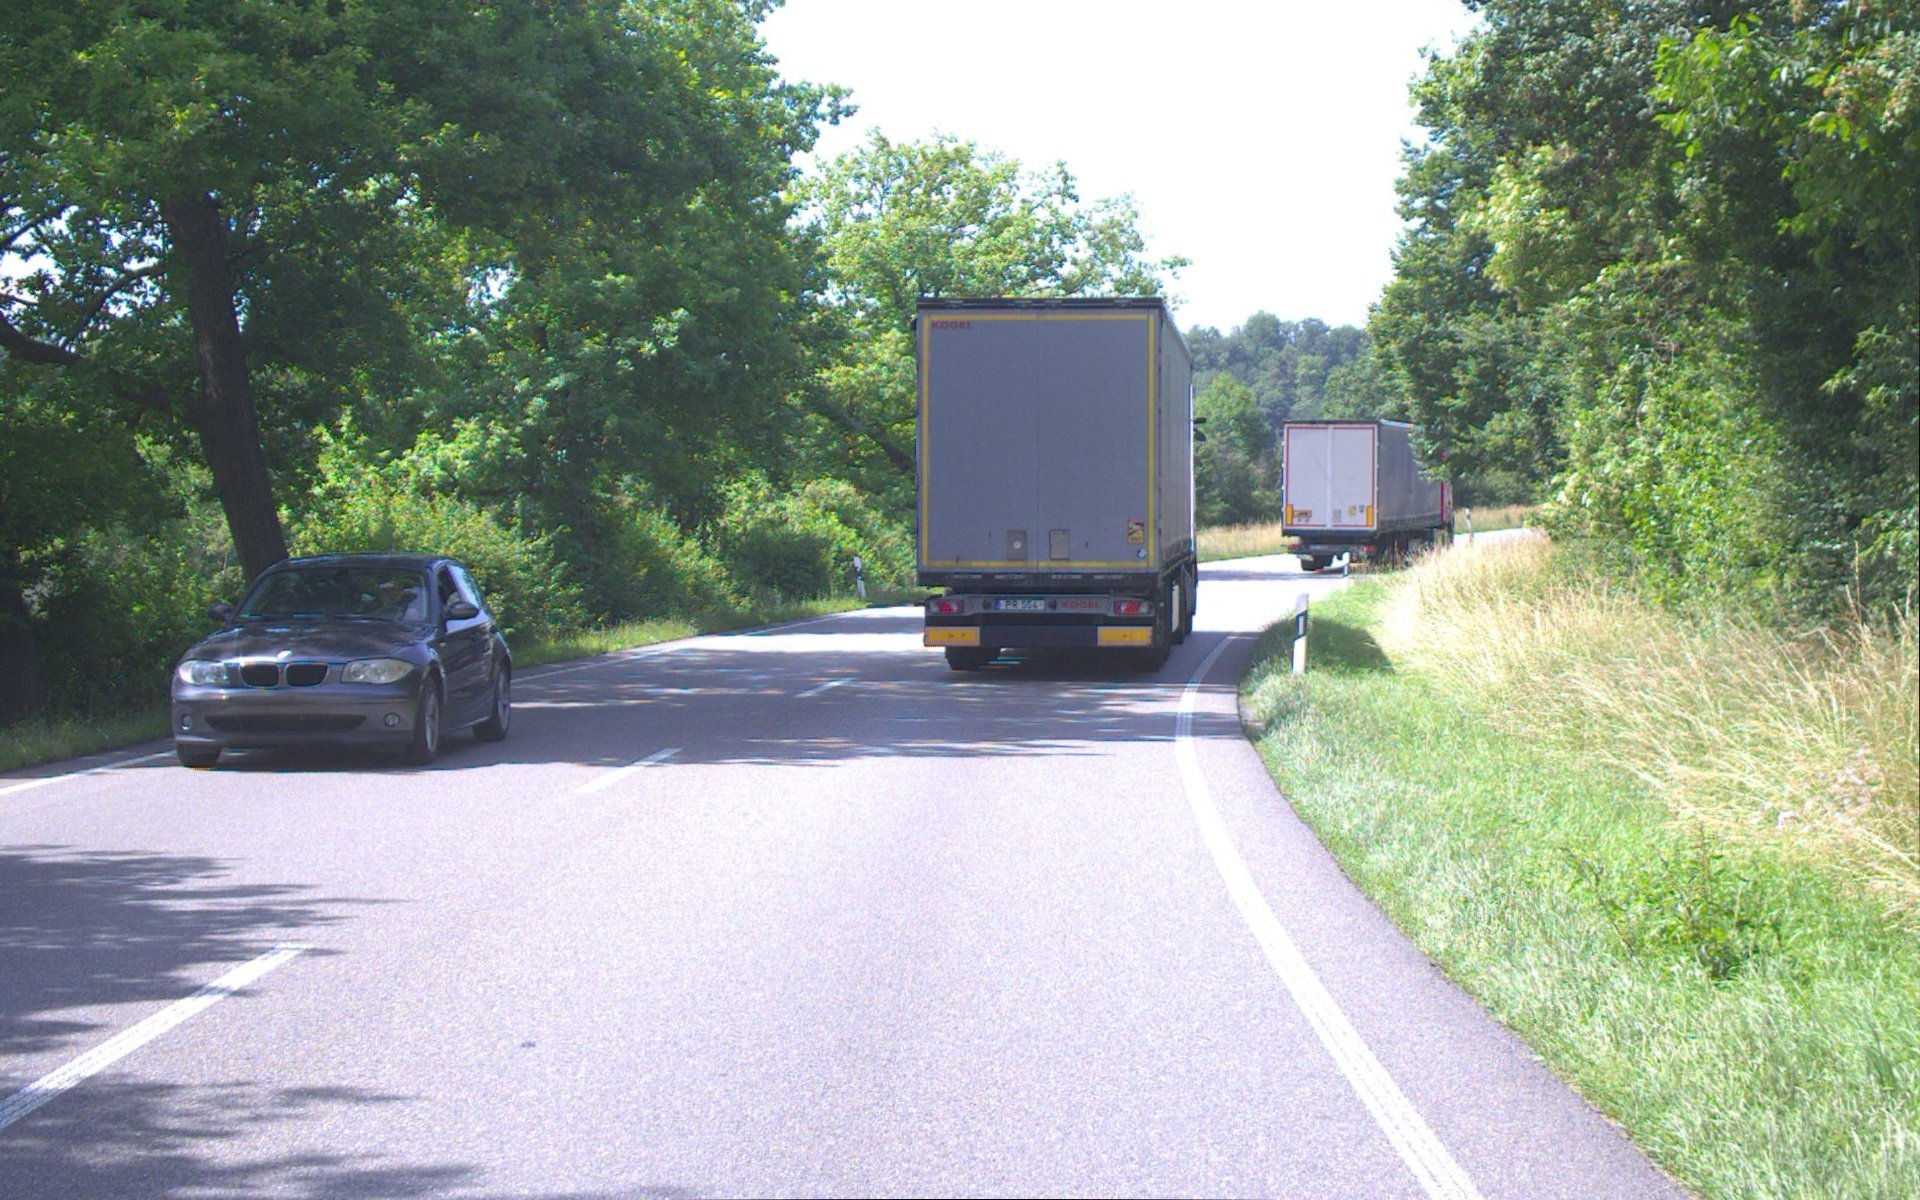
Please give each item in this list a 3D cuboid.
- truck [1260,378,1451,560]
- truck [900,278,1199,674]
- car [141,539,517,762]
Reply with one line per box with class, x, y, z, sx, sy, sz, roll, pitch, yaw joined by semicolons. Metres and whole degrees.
truck;11.451;-3.697;97.646;3.107;4.689;16.579;-1;2;14
truck;1.445;-1.514;42.944;2.802;4.054;15.324;0;2;5
car;-4.357;0.291;24.366;1.758;1.427;4.270;0;1;2
